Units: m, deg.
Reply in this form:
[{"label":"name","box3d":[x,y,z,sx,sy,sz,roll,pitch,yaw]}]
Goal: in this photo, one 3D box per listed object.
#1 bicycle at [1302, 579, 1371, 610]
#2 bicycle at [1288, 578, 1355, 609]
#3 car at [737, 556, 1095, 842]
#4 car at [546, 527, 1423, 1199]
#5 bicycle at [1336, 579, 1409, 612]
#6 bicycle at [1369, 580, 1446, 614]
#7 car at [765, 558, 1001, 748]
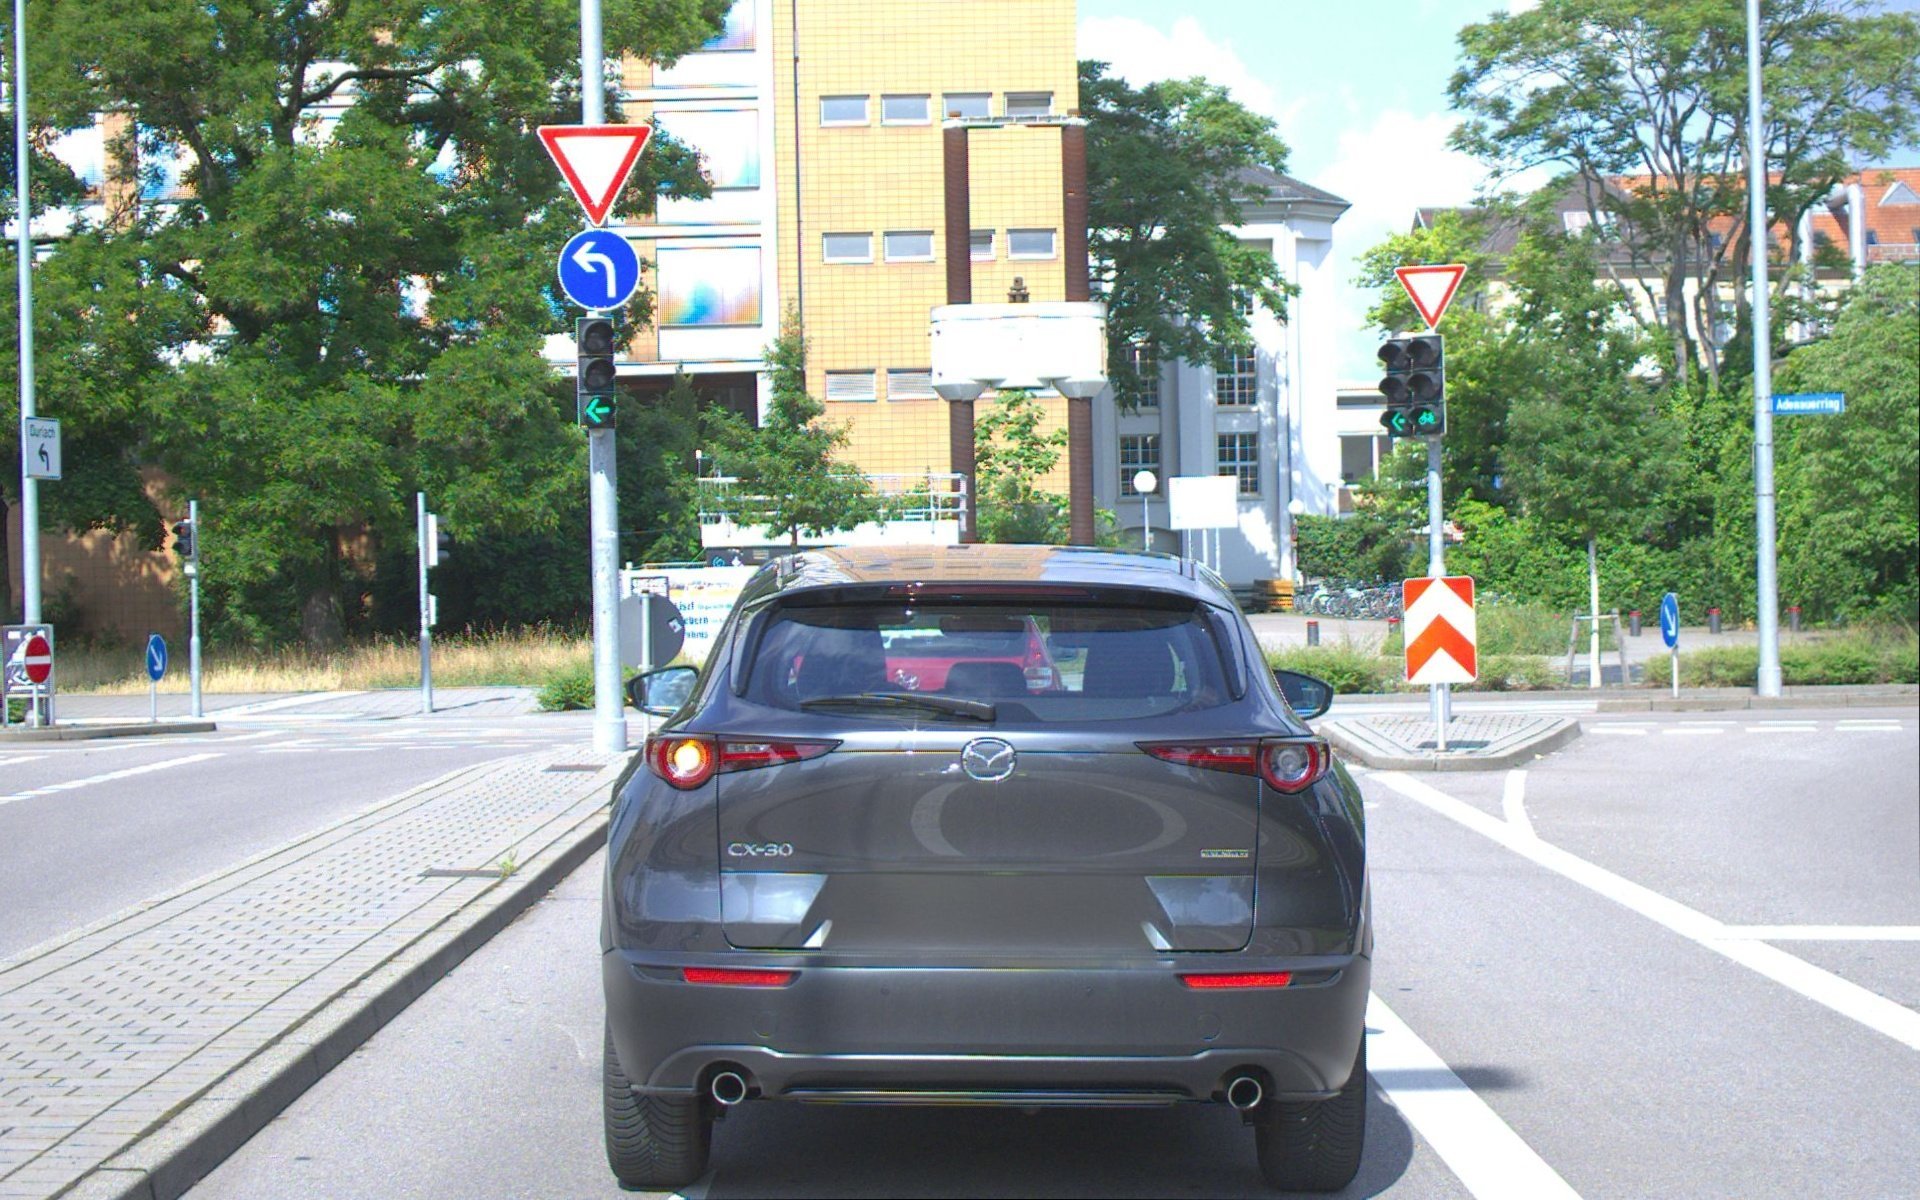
[{"label":"bicycle","box3d":[11.767,-0.174,107.499,2.055,0.933,0.804,-1,0,-1]},{"label":"bicycle","box3d":[11.817,-0.213,112.359,2.055,0.933,0.804,-1,0,-1]},{"label":"car","box3d":[-0.148,0.518,19.569,1.816,1.434,4.067,1,0,2]},{"label":"car","box3d":[0.022,0.596,9.309,1.806,1.503,4.205,1,1,-1]},{"label":"bicycle","box3d":[12.311,-0.129,102.752,2.055,0.933,0.804,-1,0,-1]},{"label":"bicycle","box3d":[12.766,-0.084,98.070,2.055,0.933,0.804,-1,0,-1]},{"label":"car","box3d":[-0.597,0.403,29.554,1.848,1.467,4.335,-1,0,1]}]
